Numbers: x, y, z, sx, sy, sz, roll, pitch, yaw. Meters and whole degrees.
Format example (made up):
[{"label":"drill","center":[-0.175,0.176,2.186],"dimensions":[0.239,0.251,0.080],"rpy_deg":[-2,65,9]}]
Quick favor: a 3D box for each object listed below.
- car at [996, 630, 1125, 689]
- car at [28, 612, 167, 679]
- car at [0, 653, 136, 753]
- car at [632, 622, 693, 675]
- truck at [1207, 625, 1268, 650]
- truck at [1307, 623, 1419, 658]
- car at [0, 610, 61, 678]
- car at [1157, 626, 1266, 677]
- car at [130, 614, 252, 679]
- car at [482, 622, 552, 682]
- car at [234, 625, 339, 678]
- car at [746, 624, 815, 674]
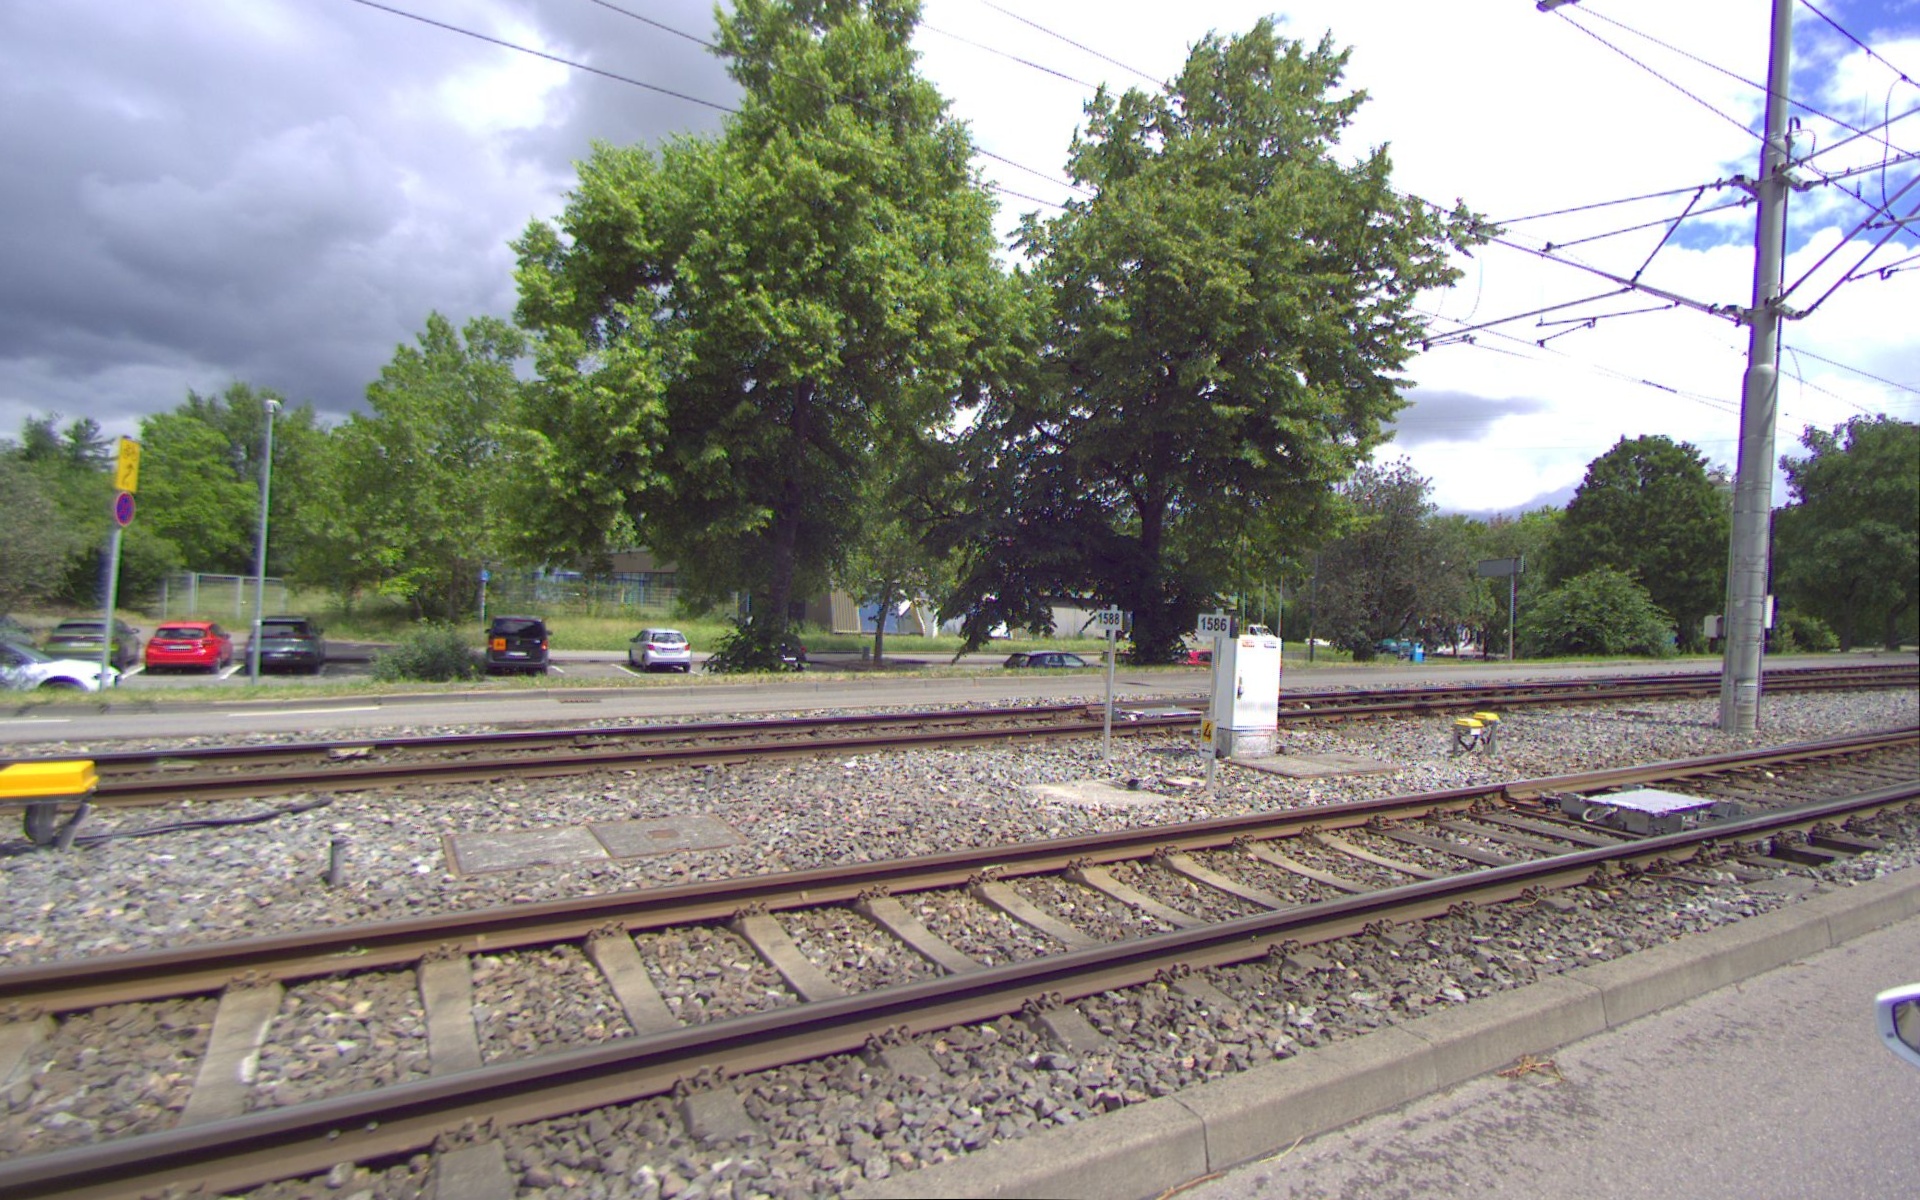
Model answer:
[{"label":"car","center":[3.369,1.929,33.505],"dimensions":[3.952,1.795,1.808],"rpy_deg":[1,0,-29]},{"label":"car","center":[-24.829,1.254,29.095],"dimensions":[1.968,1.601,3.944],"rpy_deg":[1,2,-24]},{"label":"car","center":[-19.566,2.083,20.466],"dimensions":[4.023,1.779,1.979],"rpy_deg":[1,2,-31]},{"label":"car","center":[-11.110,1.760,37.385],"dimensions":[1.831,1.620,3.979],"rpy_deg":[2,1,-21]},{"label":"truck","center":[26.363,3.542,95.546],"dimensions":[1.979,2.207,5.793],"rpy_deg":[1,-2,-33]},{"label":"truck","center":[33.424,3.344,83.773],"dimensions":[2.585,2.731,9.044],"rpy_deg":[1,-2,-31]},{"label":"car","center":[-26.980,1.182,27.801],"dimensions":[1.965,1.601,3.944],"rpy_deg":[1,2,-24]},{"label":"car","center":[9.557,1.924,38.147],"dimensions":[3.956,1.795,1.806],"rpy_deg":[1,0,-33]},{"label":"car","center":[-22.876,1.327,30.048],"dimensions":[1.968,1.601,3.944],"rpy_deg":[1,2,-24]},{"label":"car","center":[-14.740,1.702,33.604],"dimensions":[1.922,1.659,3.589],"rpy_deg":[2,1,-21]},{"label":"car","center":[-20.766,1.539,31.141],"dimensions":[1.968,1.269,4.071],"rpy_deg":[1,2,-24]},{"label":"car","center":[-7.126,1.904,39.581],"dimensions":[1.832,1.620,3.978],"rpy_deg":[2,1,-22]}]
